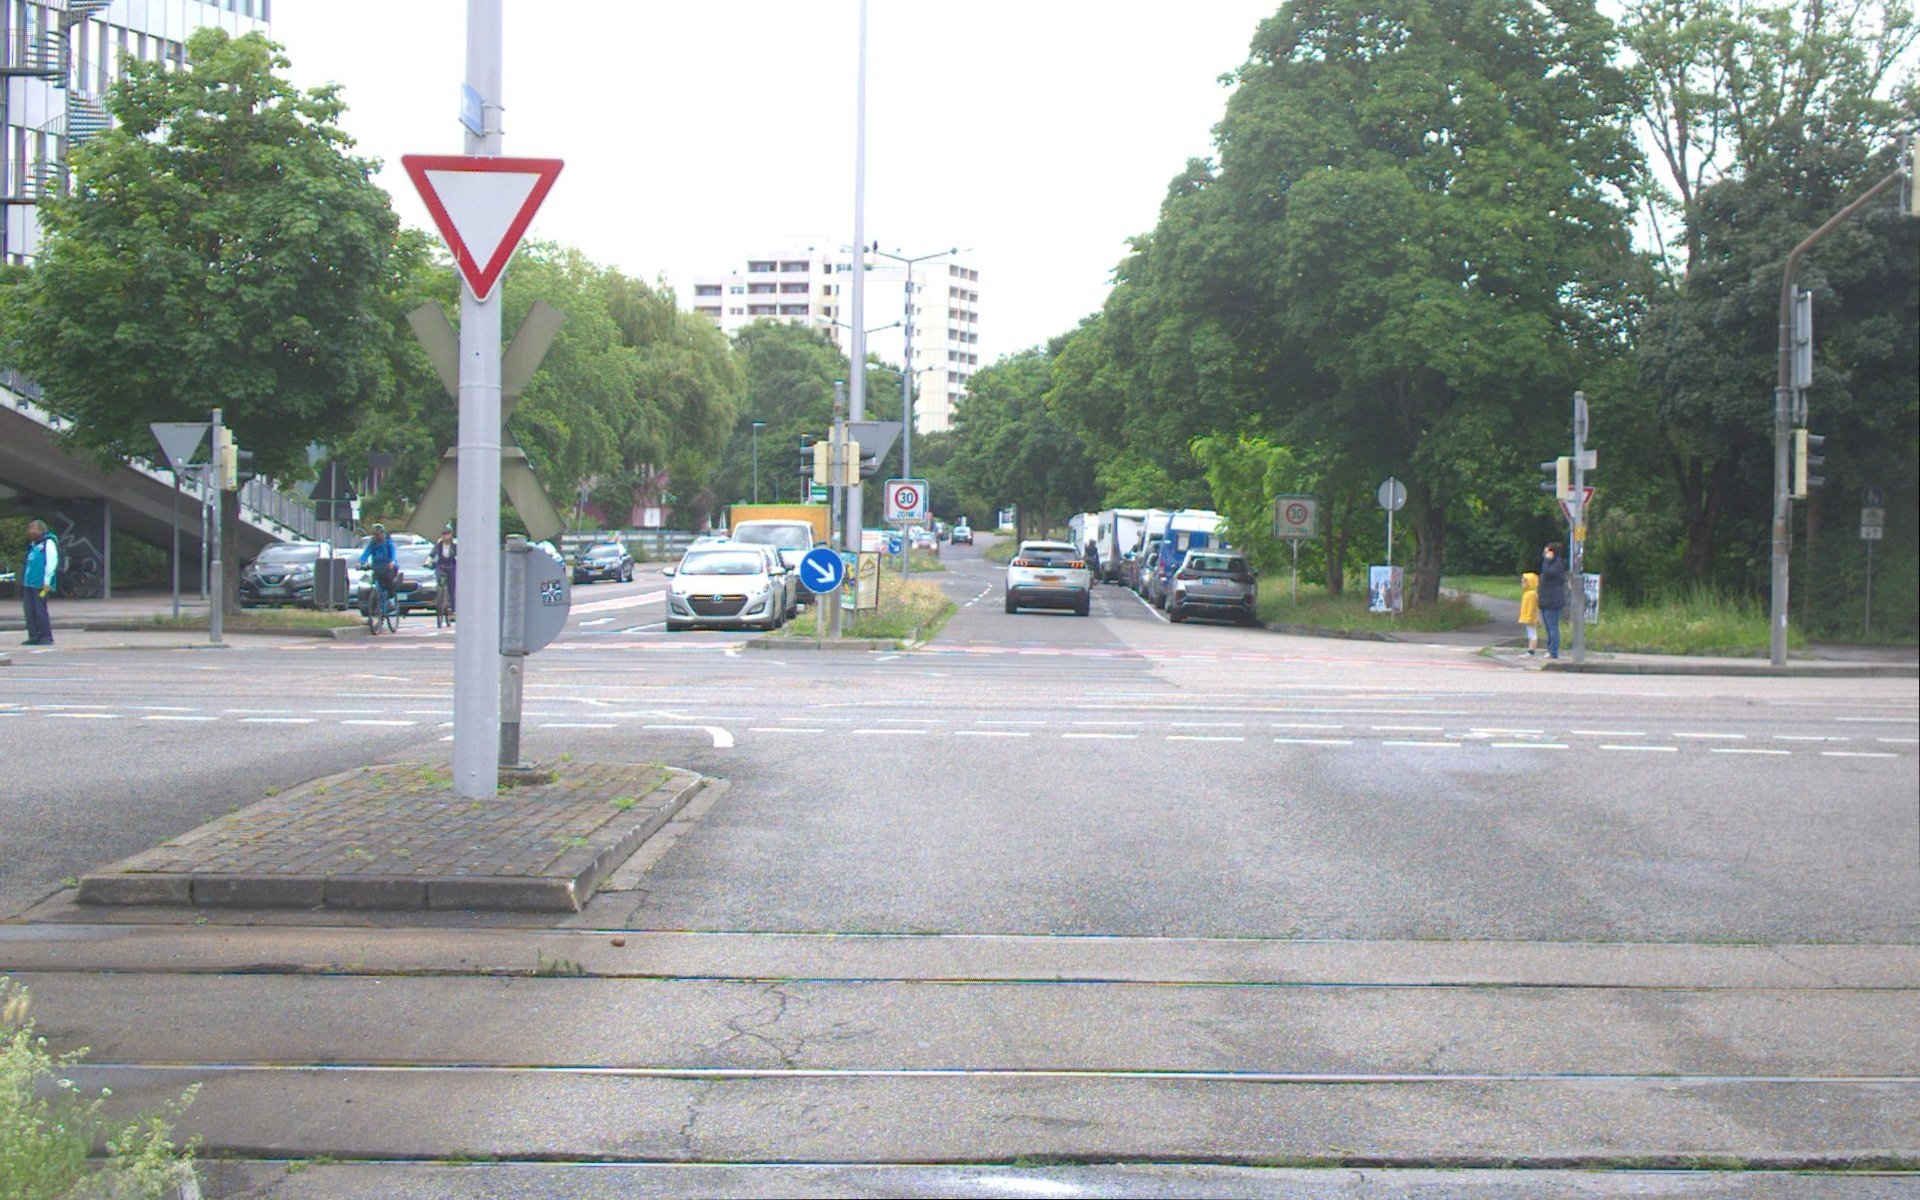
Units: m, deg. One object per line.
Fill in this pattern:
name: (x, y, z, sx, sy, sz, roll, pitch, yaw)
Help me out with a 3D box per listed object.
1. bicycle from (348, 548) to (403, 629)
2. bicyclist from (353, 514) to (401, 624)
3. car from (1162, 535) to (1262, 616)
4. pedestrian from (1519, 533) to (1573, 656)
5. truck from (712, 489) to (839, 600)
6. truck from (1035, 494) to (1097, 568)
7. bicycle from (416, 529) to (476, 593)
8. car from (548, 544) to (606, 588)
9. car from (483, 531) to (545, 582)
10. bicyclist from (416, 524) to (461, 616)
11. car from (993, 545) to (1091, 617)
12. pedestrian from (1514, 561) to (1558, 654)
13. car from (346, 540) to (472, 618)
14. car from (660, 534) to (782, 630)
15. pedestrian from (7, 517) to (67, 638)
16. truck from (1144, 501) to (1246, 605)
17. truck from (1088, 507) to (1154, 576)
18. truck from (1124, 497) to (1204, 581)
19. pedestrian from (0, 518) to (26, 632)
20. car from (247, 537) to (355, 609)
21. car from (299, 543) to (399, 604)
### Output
bicycle: (-9.444, -0.202, 55.569, 0.543, 1.263, 2.111, 1, 1, -1)
bicyclist: (-9.417, -0.505, 55.556, 0.644, 1.762, 0.647, 1, 1, -1)
car: (5.399, -0.542, 73.930, 1.784, 1.656, 4.000, 1, 1, -1)
pedestrian: (8.398, -0.082, 49.268, 0.657, 1.744, 0.459, 1, 1, -1)
truck: (-3.812, -1.176, 71.978, 2.155, 2.191, 5.840, 1, 1, 1)
truck: (4.385, -2.850, 142.923, 1.993, 2.998, 5.773, 1, 1, -4)
bicycle: (-9.084, -0.693, 60.857, 0.726, 1.097, 2.264, 1, 1, -1)
car: (-14.032, -1.259, 126.098, 1.671, 1.546, 4.000, 1, 1, 0)
car: (-13.982, -1.388, 107.786, 1.444, 1.546, 3.664, 1, 1, 0)
bicyclist: (-9.106, -0.524, 60.062, 0.679, 1.589, 0.695, 1, 0, -1)
car: (1.792, -0.442, 76.678, 2.020, 1.500, 4.000, 1, 1, -1)
pedestrian: (8.357, 0.103, 49.875, 0.527, 1.337, 0.525, 1, 1, -1)
car: (-11.473, -0.470, 71.792, 1.672, 1.546, 4.000, 1, 1, 4)
car: (-3.985, -0.331, 57.904, 1.789, 1.514, 4.326, 1, 1, -1)
pedestrian: (-12.296, -0.302, 45.805, 0.687, 1.599, 0.488, 1, 1, -5)
truck: (6.154, -1.236, 90.721, 2.174, 2.647, 6.247, 0, 1, -1)
truck: (6.163, -2.243, 132.136, 1.993, 2.564, 5.379, 1, 1, -2)
truck: (7.102, -2.117, 120.063, 1.993, 2.828, 5.732, 1, 1, -4)
pedestrian: (-12.945, -0.342, 45.834, 0.917, 1.505, 0.404, 1, 1, -11)
car: (-14.852, -0.621, 77.645, 1.671, 1.546, 3.892, 1, 1, 0)
car: (-14.749, -0.656, 83.141, 1.671, 1.382, 3.895, 1, 1, 0)
